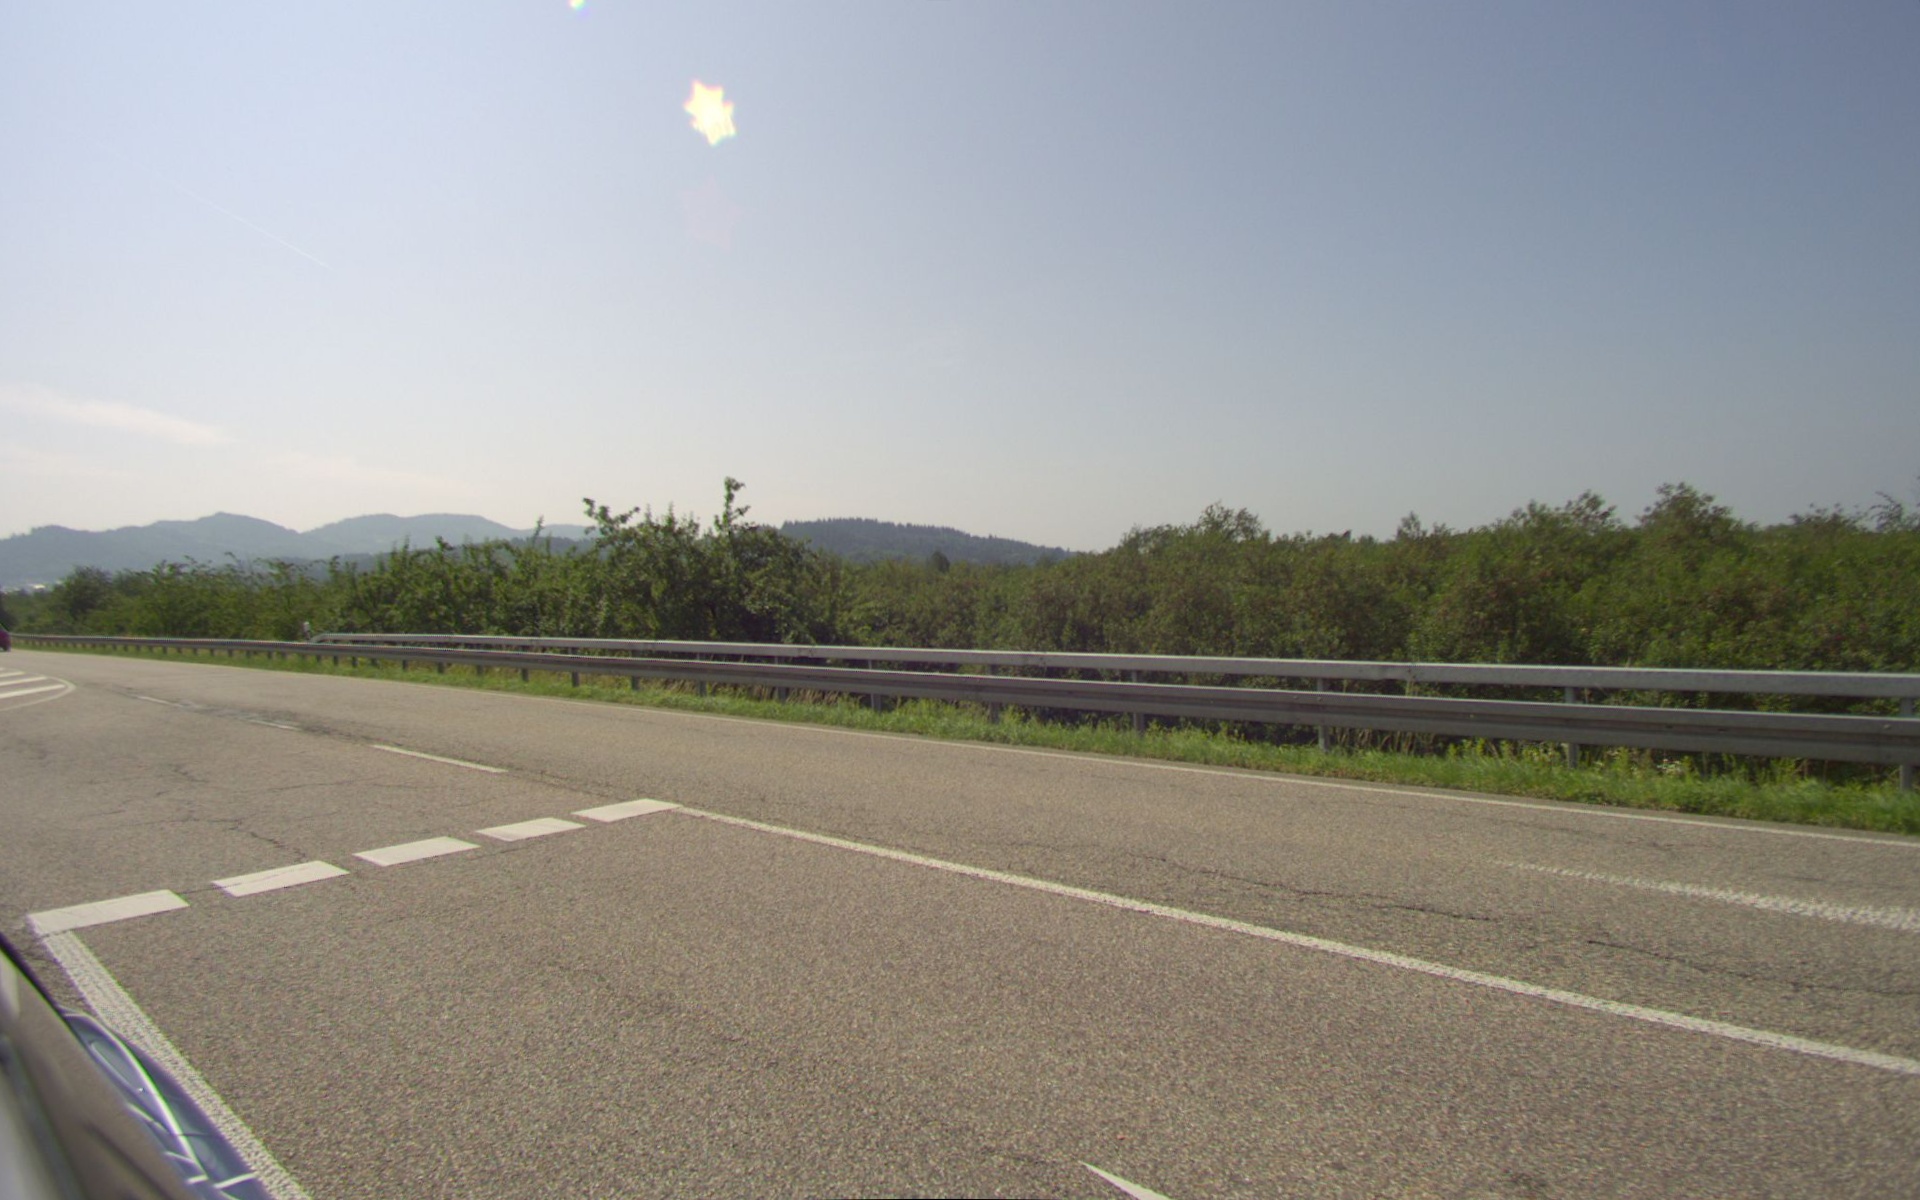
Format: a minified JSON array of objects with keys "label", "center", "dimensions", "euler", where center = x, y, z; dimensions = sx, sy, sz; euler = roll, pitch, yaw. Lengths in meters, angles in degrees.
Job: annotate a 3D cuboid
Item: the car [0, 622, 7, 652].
[{"label":"car","center":[-48.778,1.862,50.174],"dimensions":[4.493,1.460,1.797],"euler":[-1,0,41]}]
